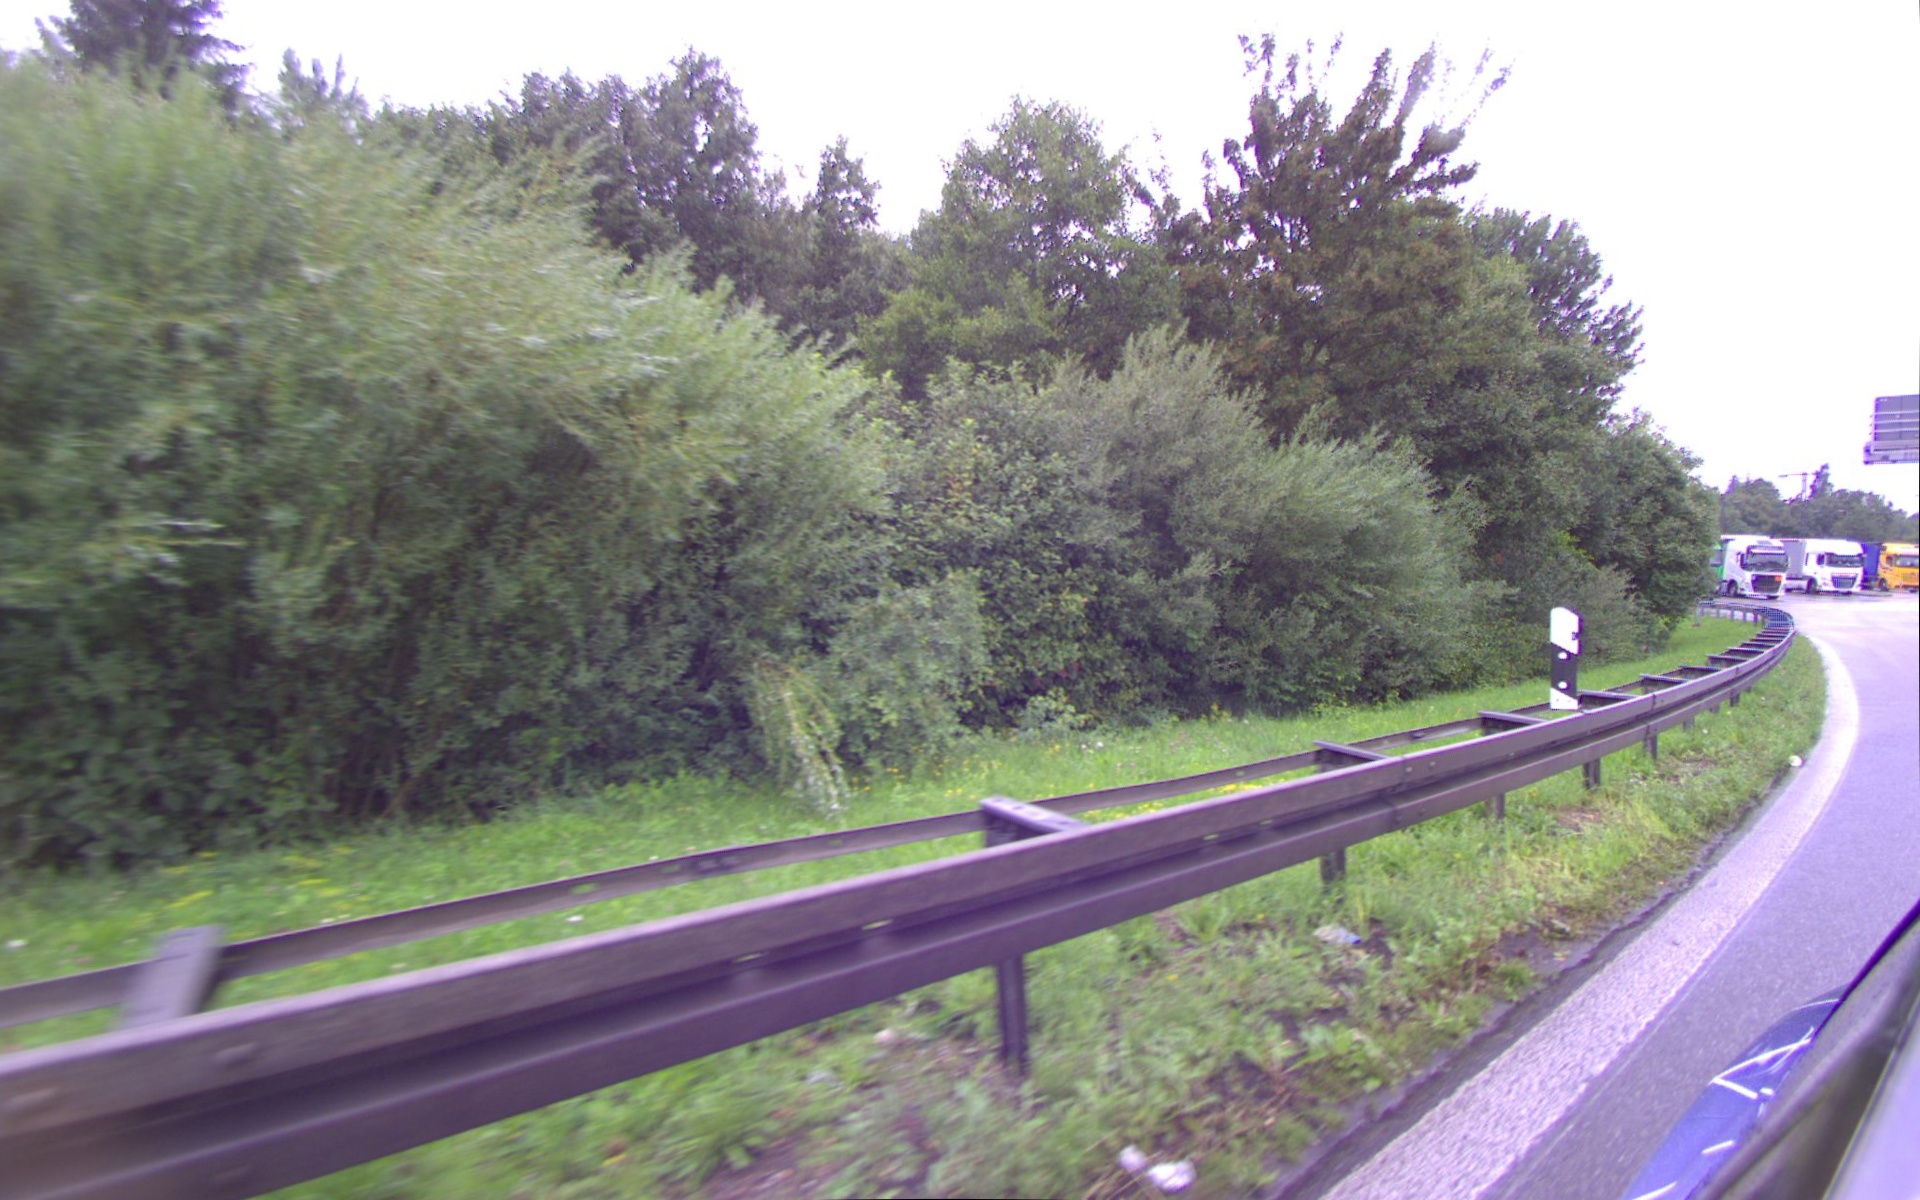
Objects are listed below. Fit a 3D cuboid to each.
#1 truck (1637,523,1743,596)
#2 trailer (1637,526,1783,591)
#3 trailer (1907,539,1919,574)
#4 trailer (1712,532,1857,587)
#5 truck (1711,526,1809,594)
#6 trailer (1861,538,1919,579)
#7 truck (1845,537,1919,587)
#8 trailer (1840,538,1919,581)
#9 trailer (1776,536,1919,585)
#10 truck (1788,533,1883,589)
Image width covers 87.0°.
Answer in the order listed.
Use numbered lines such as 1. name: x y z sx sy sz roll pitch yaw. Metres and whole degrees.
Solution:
1. truck: 44.169 -2.538 61.483 2.782 4.199 5.983 2 4 11
2. trailer: 53.822 -3.202 73.331 2.784 4.220 13.952 2 4 12
3. trailer: 115.024 -4.829 115.335 3.193 4.140 13.506 2 4 9
4. trailer: 66.128 -3.451 81.810 2.801 3.965 13.915 2 4 12
5. truck: 52.272 -2.713 66.279 2.784 4.195 5.286 2 4 13
6. trailer: 96.529 -4.102 100.887 2.830 3.965 13.908 2 4 9
7. truck: 79.255 -3.298 85.737 2.798 3.965 8.102 2 4 13
8. trailer: 92.625 -3.942 98.406 3.193 3.965 14.801 2 4 9
9. trailer: 80.765 -3.815 92.211 2.826 3.965 16.580 2 4 13
10. truck: 64.677 -2.950 74.922 2.787 3.959 5.395 2 3 12
